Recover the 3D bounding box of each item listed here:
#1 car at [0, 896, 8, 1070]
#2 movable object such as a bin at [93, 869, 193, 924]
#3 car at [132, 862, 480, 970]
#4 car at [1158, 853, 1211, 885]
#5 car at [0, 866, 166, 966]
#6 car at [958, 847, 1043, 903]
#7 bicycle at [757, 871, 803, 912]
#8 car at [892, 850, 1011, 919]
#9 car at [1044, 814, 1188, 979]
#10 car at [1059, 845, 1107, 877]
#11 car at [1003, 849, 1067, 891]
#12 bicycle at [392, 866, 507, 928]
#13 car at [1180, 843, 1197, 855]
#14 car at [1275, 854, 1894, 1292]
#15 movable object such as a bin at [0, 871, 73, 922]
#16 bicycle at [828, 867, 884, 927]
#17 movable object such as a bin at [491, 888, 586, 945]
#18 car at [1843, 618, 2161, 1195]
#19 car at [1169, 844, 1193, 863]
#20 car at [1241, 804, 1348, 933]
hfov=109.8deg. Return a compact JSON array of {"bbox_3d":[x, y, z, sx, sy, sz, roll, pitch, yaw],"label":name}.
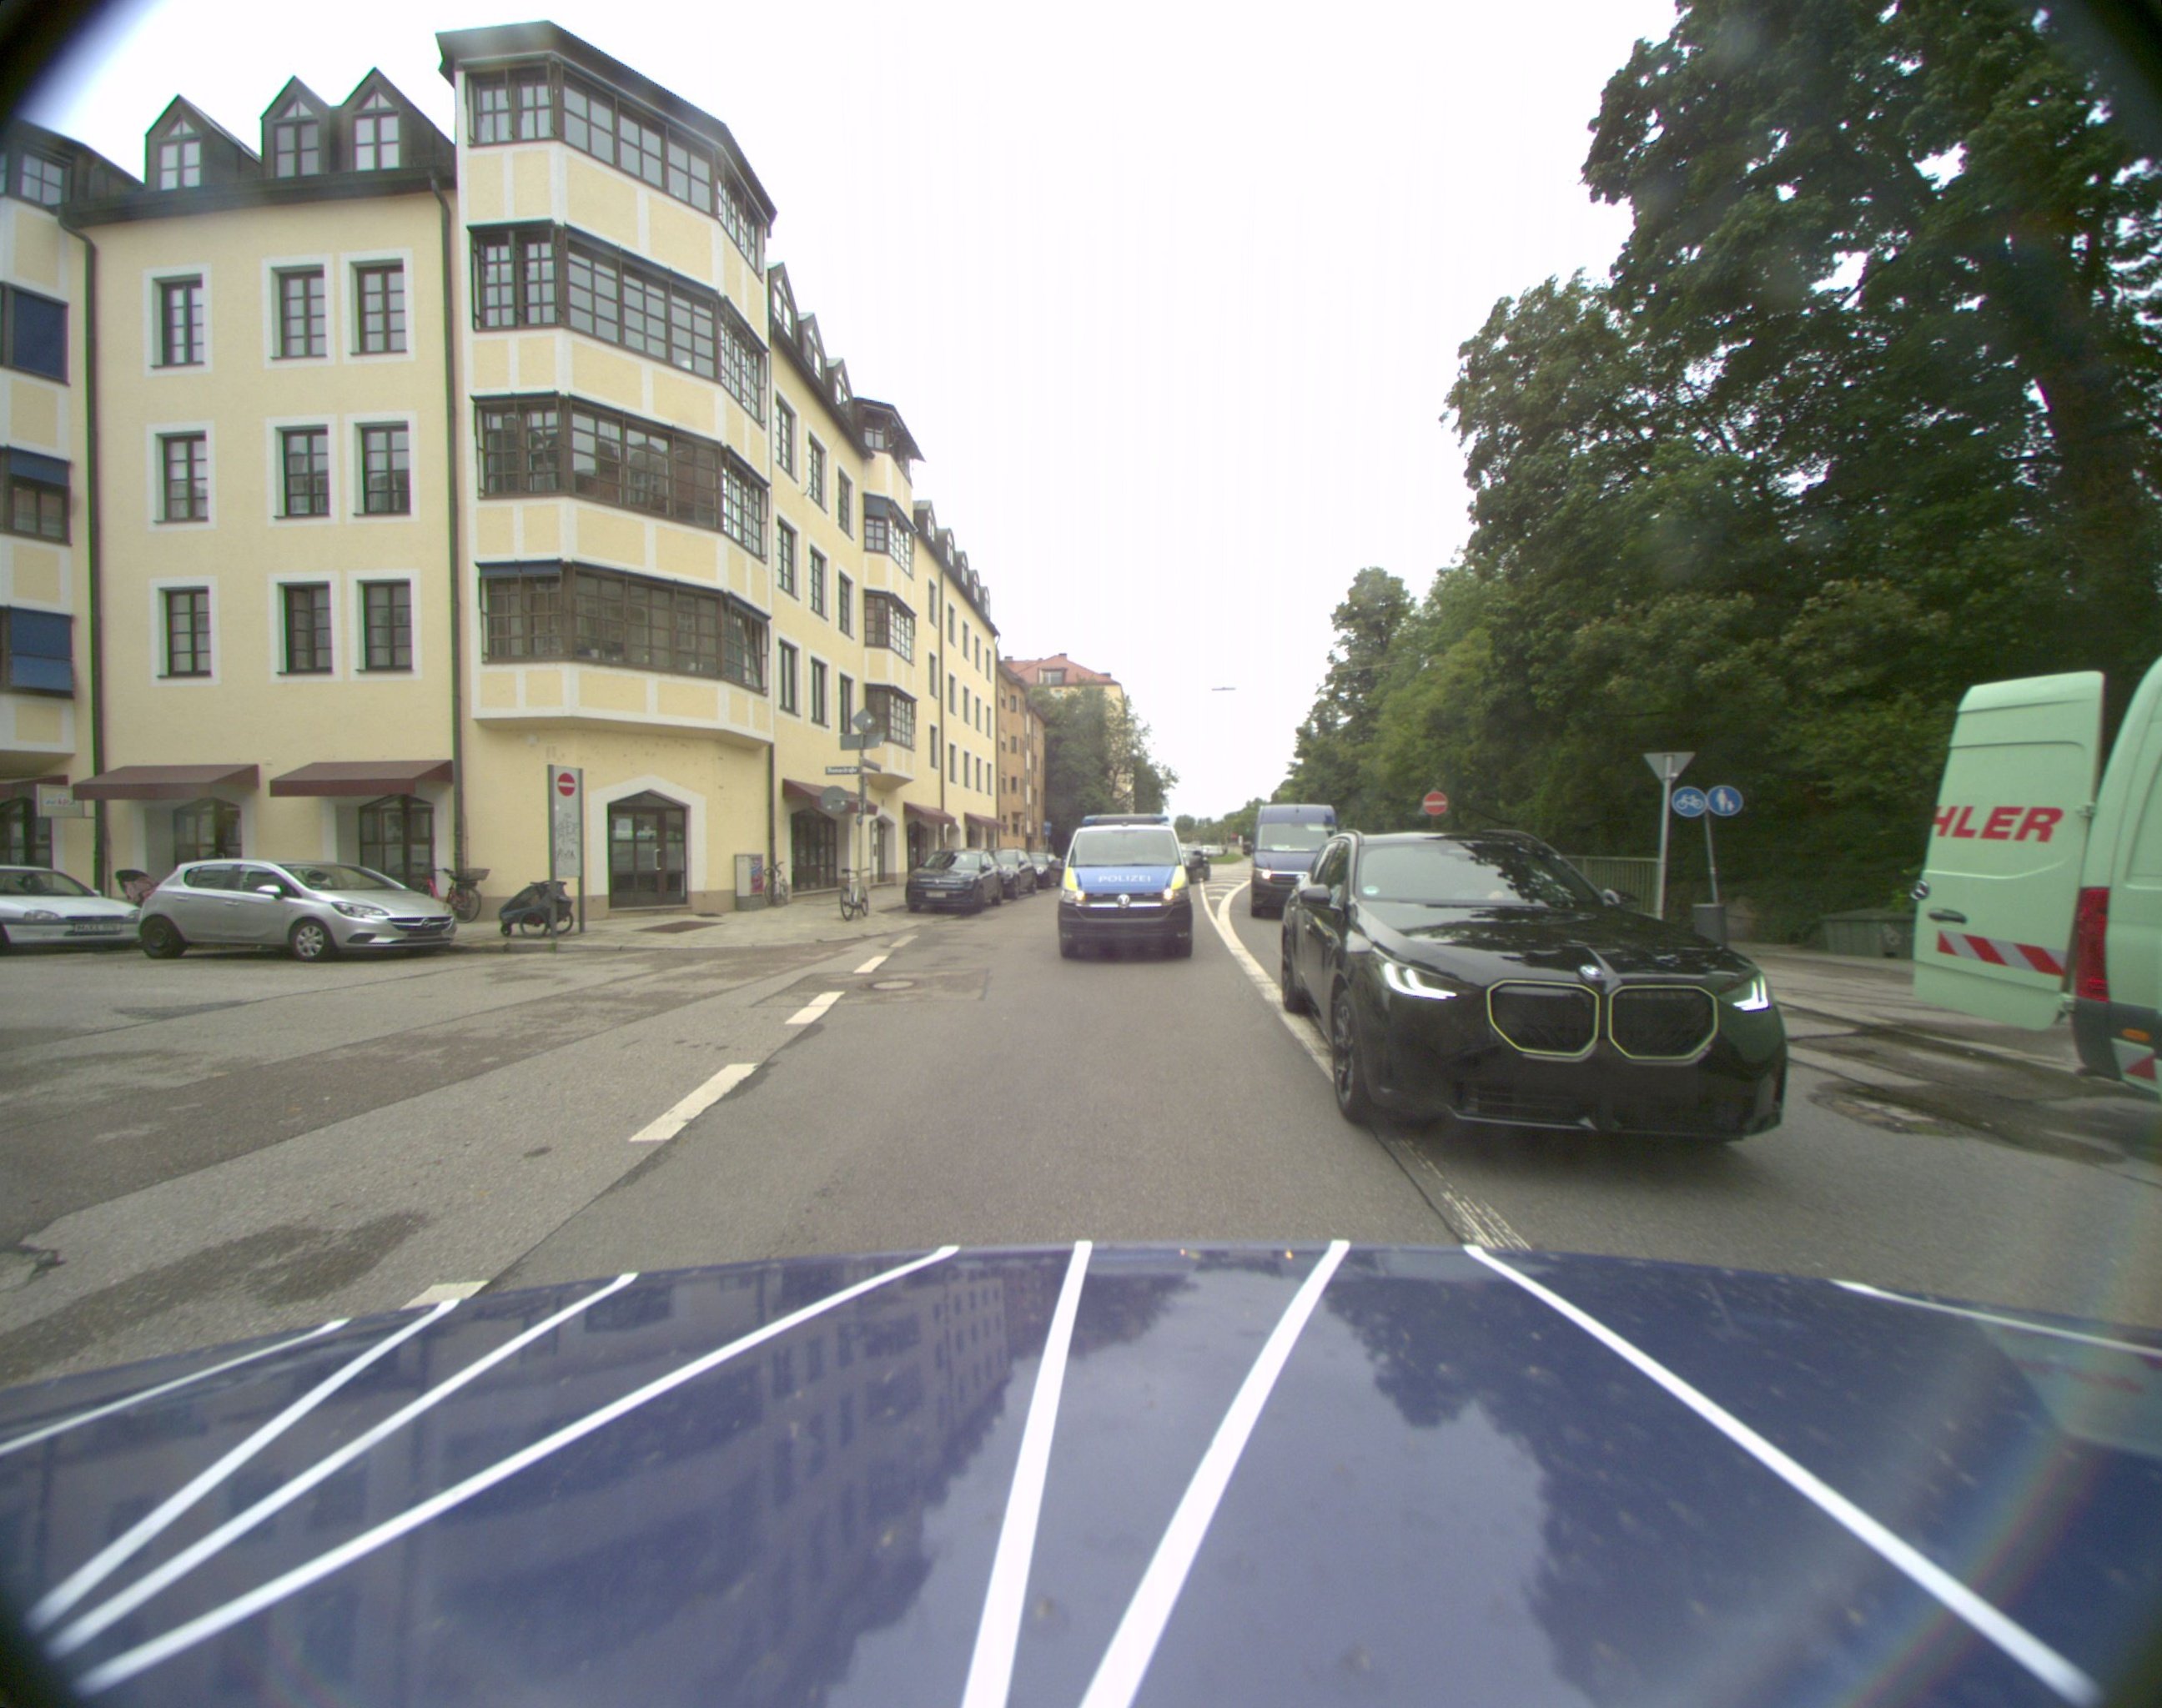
[{"bbox_3d":[-10.537,0.978,5.225,3.881,1.479,1.893,0,1,5],"label":"car"},{"bbox_3d":[-19.189,0.858,15.568,1.125,1.075,0.767,0,1,5],"label":"movable object such as a bin"},{"bbox_3d":[-11.507,0.874,11.421,3.741,1.431,1.753,0,-2,8],"label":"car"},{"bbox_3d":[4.405,0.607,31.873,1.493,1.207,3.616,0,1,19],"label":"car"},{"bbox_3d":[-17.013,0.917,12.014,3.451,1.330,1.640,1,2,8],"label":"car"},{"bbox_3d":[-2.638,0.624,25.885,1.816,1.580,4.166,4,2,8],"label":"car"},{"bbox_3d":[-7.529,0.916,19.061,0.262,0.897,1.696,4,2,7],"label":"bicycle"},{"bbox_3d":[-3.357,0.731,20.685,2.111,1.613,4.497,0,1,5],"label":"car"},{"bbox_3d":[0.764,0.508,12.510,1.825,2.087,5.635,1,1,7],"label":"car"},{"bbox_3d":[0.207,0.337,43.687,1.882,1.642,5.620,1,1,9],"label":"car"},{"bbox_3d":[-1.803,0.610,30.948,1.763,1.514,3.934,2,1,9],"label":"car"},{"bbox_3d":[-12.359,0.827,14.889,1.904,1.180,0.515,0,1,5],"label":"bicycle"},{"bbox_3d":[13.452,-0.634,94.878,1.836,1.390,4.003,1,1,10],"label":"car"},{"bbox_3d":[2.476,0.839,5.156,1.920,1.557,4.296,1,1,10],"label":"car"},{"bbox_3d":[-21.944,0.875,15.794,1.125,1.008,0.684,0,1,5],"label":"movable object such as a bin"},{"bbox_3d":[-4.925,0.915,16.739,0.430,1.152,2.053,1,2,6],"label":"bicycle"},{"bbox_3d":[-9.260,1.054,12.994,1.125,0.895,0.684,0,1,5],"label":"movable object such as a bin"},{"bbox_3d":[5.708,0.242,1.409,2.145,2.557,6.796,0,1,4],"label":"car"},{"bbox_3d":[9.187,-0.071,69.584,1.997,1.587,4.003,1,1,11],"label":"car"},{"bbox_3d":[4.971,0.194,17.838,2.003,2.477,6.238,0,2,15],"label":"car"}]
